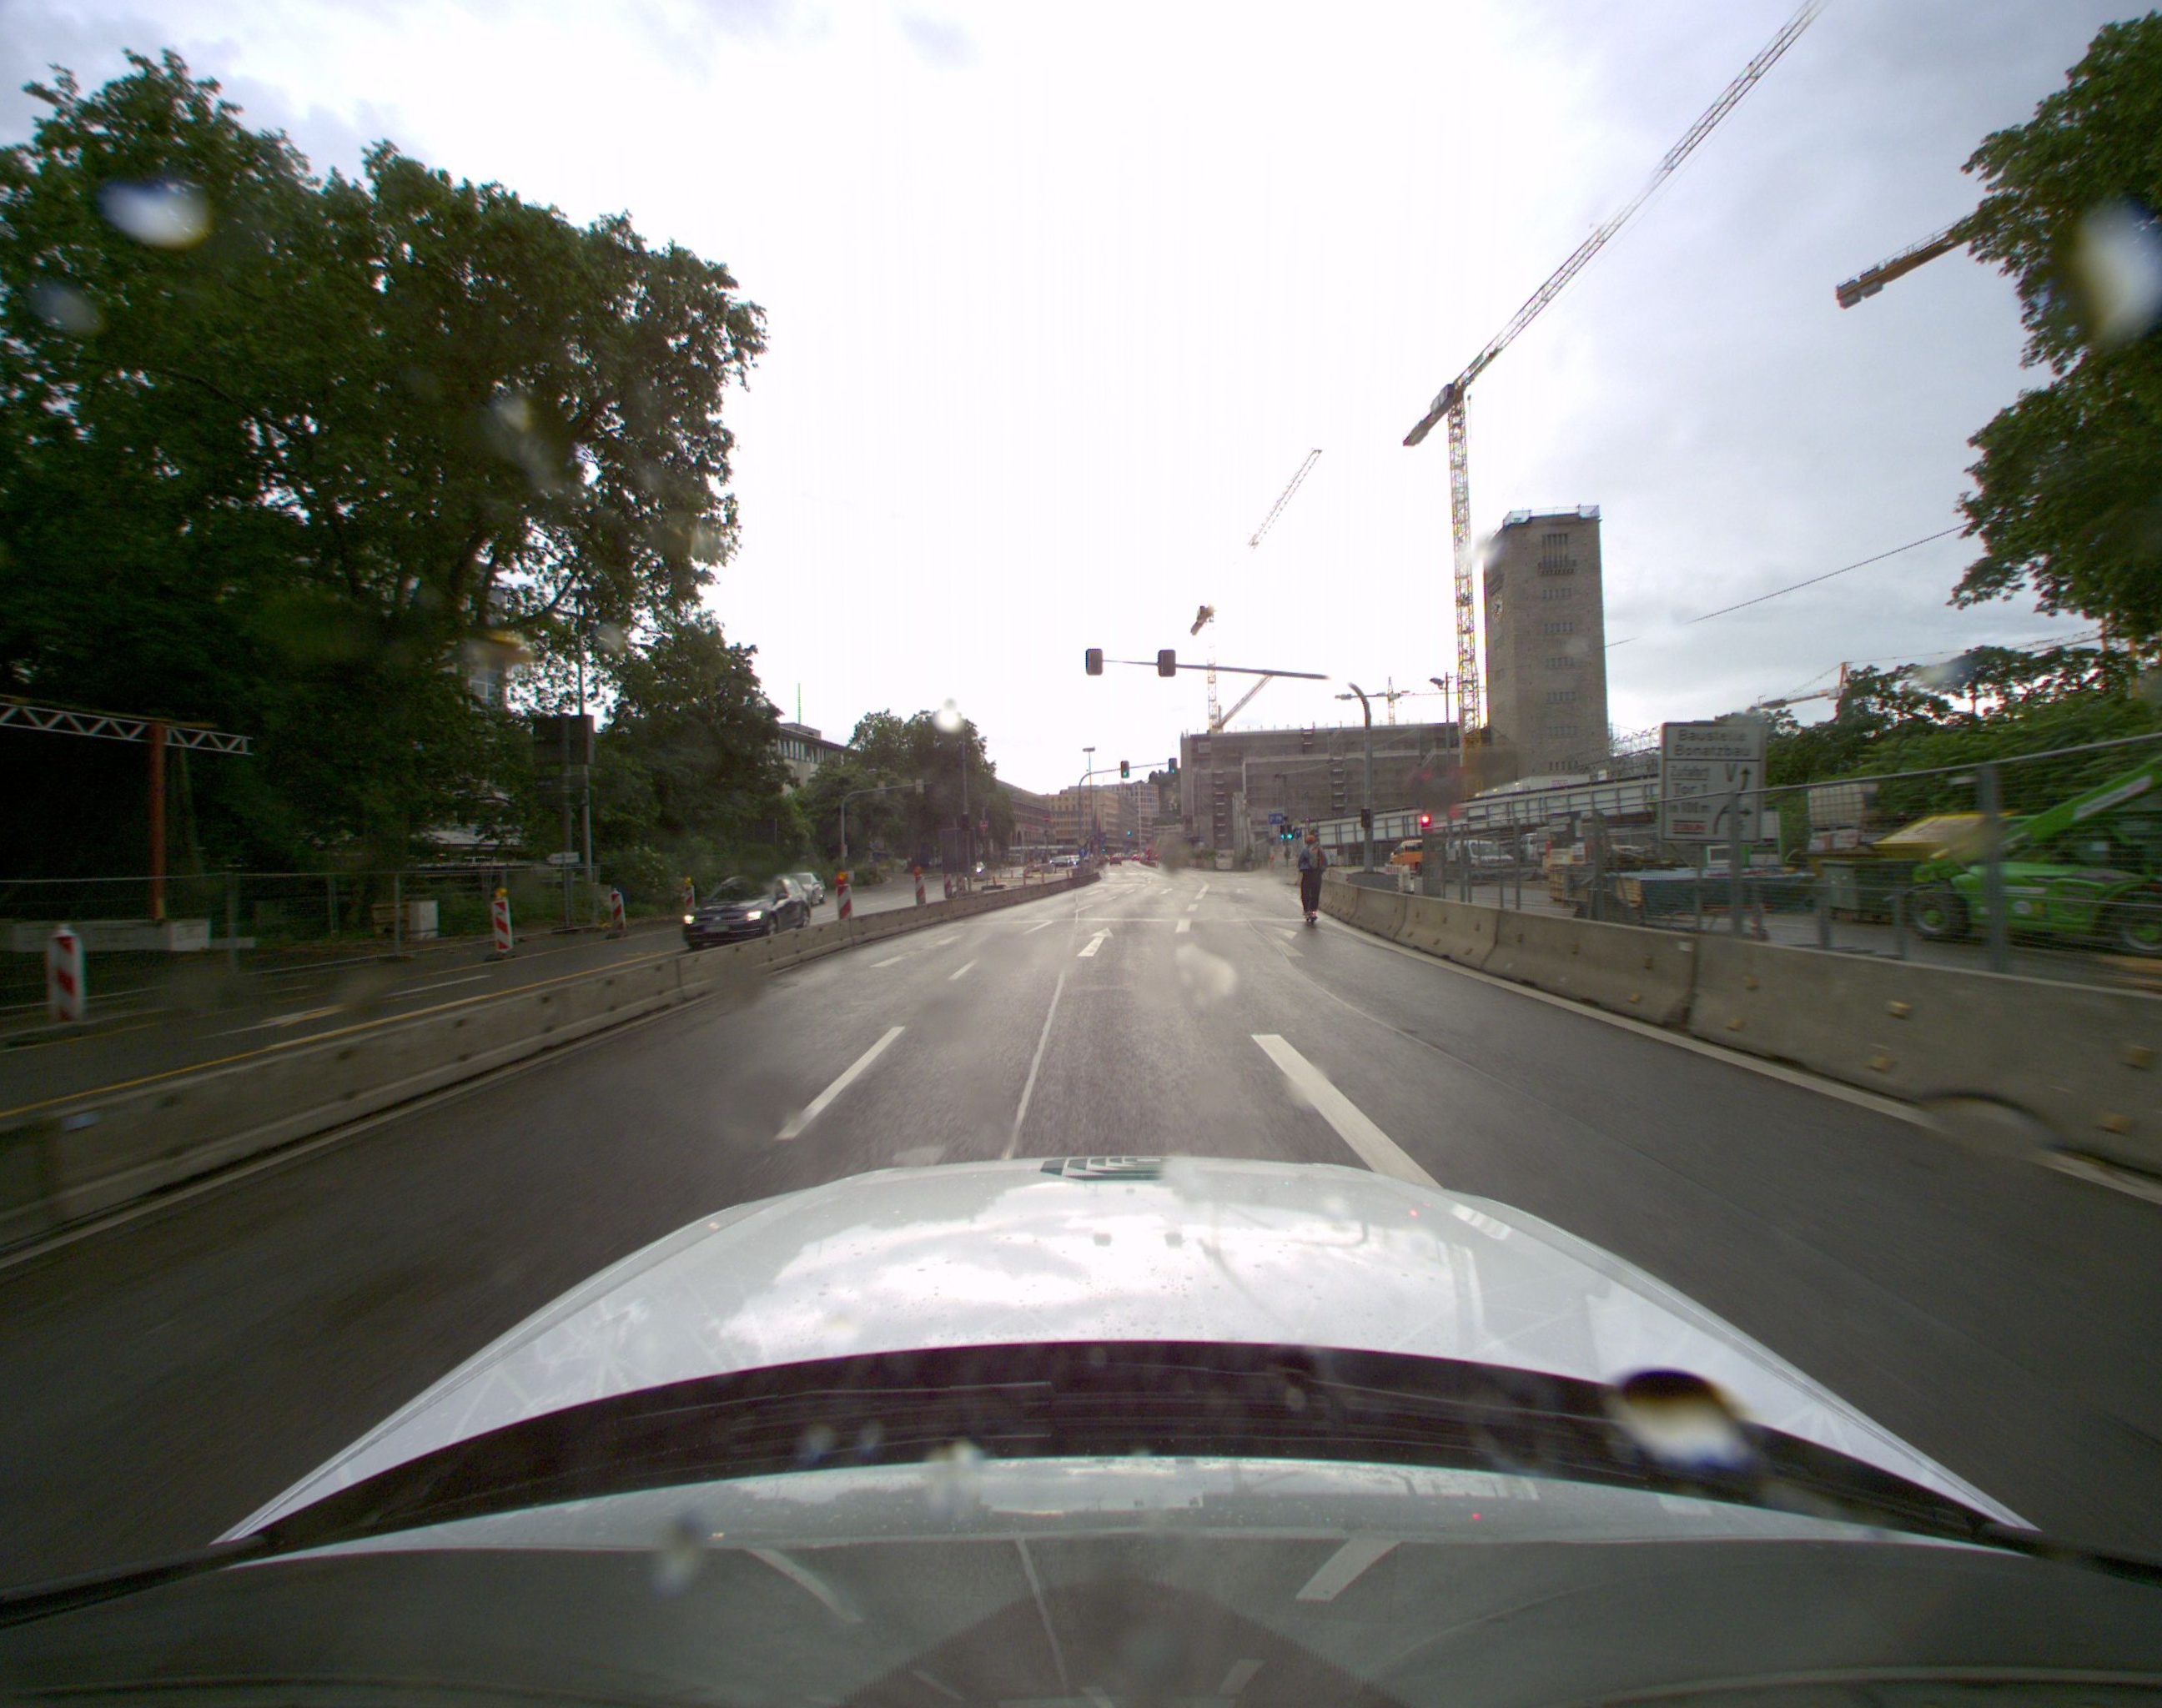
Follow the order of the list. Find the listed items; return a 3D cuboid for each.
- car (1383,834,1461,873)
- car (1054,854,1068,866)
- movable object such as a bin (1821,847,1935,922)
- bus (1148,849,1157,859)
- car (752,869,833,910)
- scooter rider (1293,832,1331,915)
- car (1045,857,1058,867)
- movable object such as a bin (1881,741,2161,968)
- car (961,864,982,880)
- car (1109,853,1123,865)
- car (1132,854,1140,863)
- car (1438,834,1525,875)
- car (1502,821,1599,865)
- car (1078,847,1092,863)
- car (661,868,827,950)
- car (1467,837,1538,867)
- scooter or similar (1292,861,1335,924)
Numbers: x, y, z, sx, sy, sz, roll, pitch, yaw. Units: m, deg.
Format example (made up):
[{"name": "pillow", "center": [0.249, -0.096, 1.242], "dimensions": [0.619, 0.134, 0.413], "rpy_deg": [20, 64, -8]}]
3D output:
[{"name": "car", "center": [18.717, 0.000, 44.973], "dimensions": [1.907, 1.975, 5.157], "rpy_deg": [-1, 0, -3]}, {"name": "car", "center": [-2.902, 0.874, 118.887], "dimensions": [1.896, 1.528, 4.176], "rpy_deg": [-3, -3, 0]}, {"name": "movable object such as a bin", "center": [15.302, 0.560, 15.697], "dimensions": [1.166, 1.344, 1.272], "rpy_deg": [-1, 1, 22]}, {"name": "bus", "center": [18.539, -0.011, 211.773], "dimensions": [1.982, 2.432, 4.008], "rpy_deg": [-4, -3, 8]}, {"name": "car", "center": [-12.485, 1.555, 35.516], "dimensions": [1.988, 1.541, 4.441], "rpy_deg": [-3, -3, -2]}, {"name": "scooter rider", "center": [5.131, 0.428, 18.112], "dimensions": [0.594, 1.786, 0.998], "rpy_deg": [-1, -1, 5]}, {"name": "car", "center": [-5.200, 1.486, 143.660], "dimensions": [1.896, 1.528, 4.176], "rpy_deg": [-3, -3, 0]}, {"name": "movable object such as a bin", "center": [14.228, -0.036, 11.598], "dimensions": [1.802, 2.809, 3.863], "rpy_deg": [-1, 1, -3]}, {"name": "car", "center": [-11.336, 1.860, 84.610], "dimensions": [1.762, 1.463, 4.171], "rpy_deg": [-4, 0, -4]}, {"name": "car", "center": [5.355, 0.829, 126.253], "dimensions": [1.896, 1.528, 4.176], "rpy_deg": [-3, -3, 0]}, {"name": "car", "center": [13.582, 1.110, 201.447], "dimensions": [1.985, 2.014, 4.004], "rpy_deg": [-4, -3, 4]}, {"name": "car", "center": [19.051, -0.026, 39.002], "dimensions": [1.839, 1.806, 5.089], "rpy_deg": [-1, 1, 2]}, {"name": "car", "center": [27.348, -0.562, 47.680], "dimensions": [2.041, 2.313, 5.596], "rpy_deg": [-3, 0, -4]}, {"name": "car", "center": [0.619, 0.194, 119.415], "dimensions": [1.896, 2.083, 4.176], "rpy_deg": [-3, -3, 0]}, {"name": "car", "center": [-7.540, 1.220, 18.808], "dimensions": [1.988, 1.541, 4.575], "rpy_deg": [-3, -3, -2]}, {"name": "car", "center": [24.688, -0.101, 47.878], "dimensions": [1.935, 1.619, 3.929], "rpy_deg": [-3, 0, -4]}, {"name": "scooter or similar", "center": [5.146, 0.820, 18.126], "dimensions": [0.594, 1.319, 1.669], "rpy_deg": [-1, -1, 5]}]
